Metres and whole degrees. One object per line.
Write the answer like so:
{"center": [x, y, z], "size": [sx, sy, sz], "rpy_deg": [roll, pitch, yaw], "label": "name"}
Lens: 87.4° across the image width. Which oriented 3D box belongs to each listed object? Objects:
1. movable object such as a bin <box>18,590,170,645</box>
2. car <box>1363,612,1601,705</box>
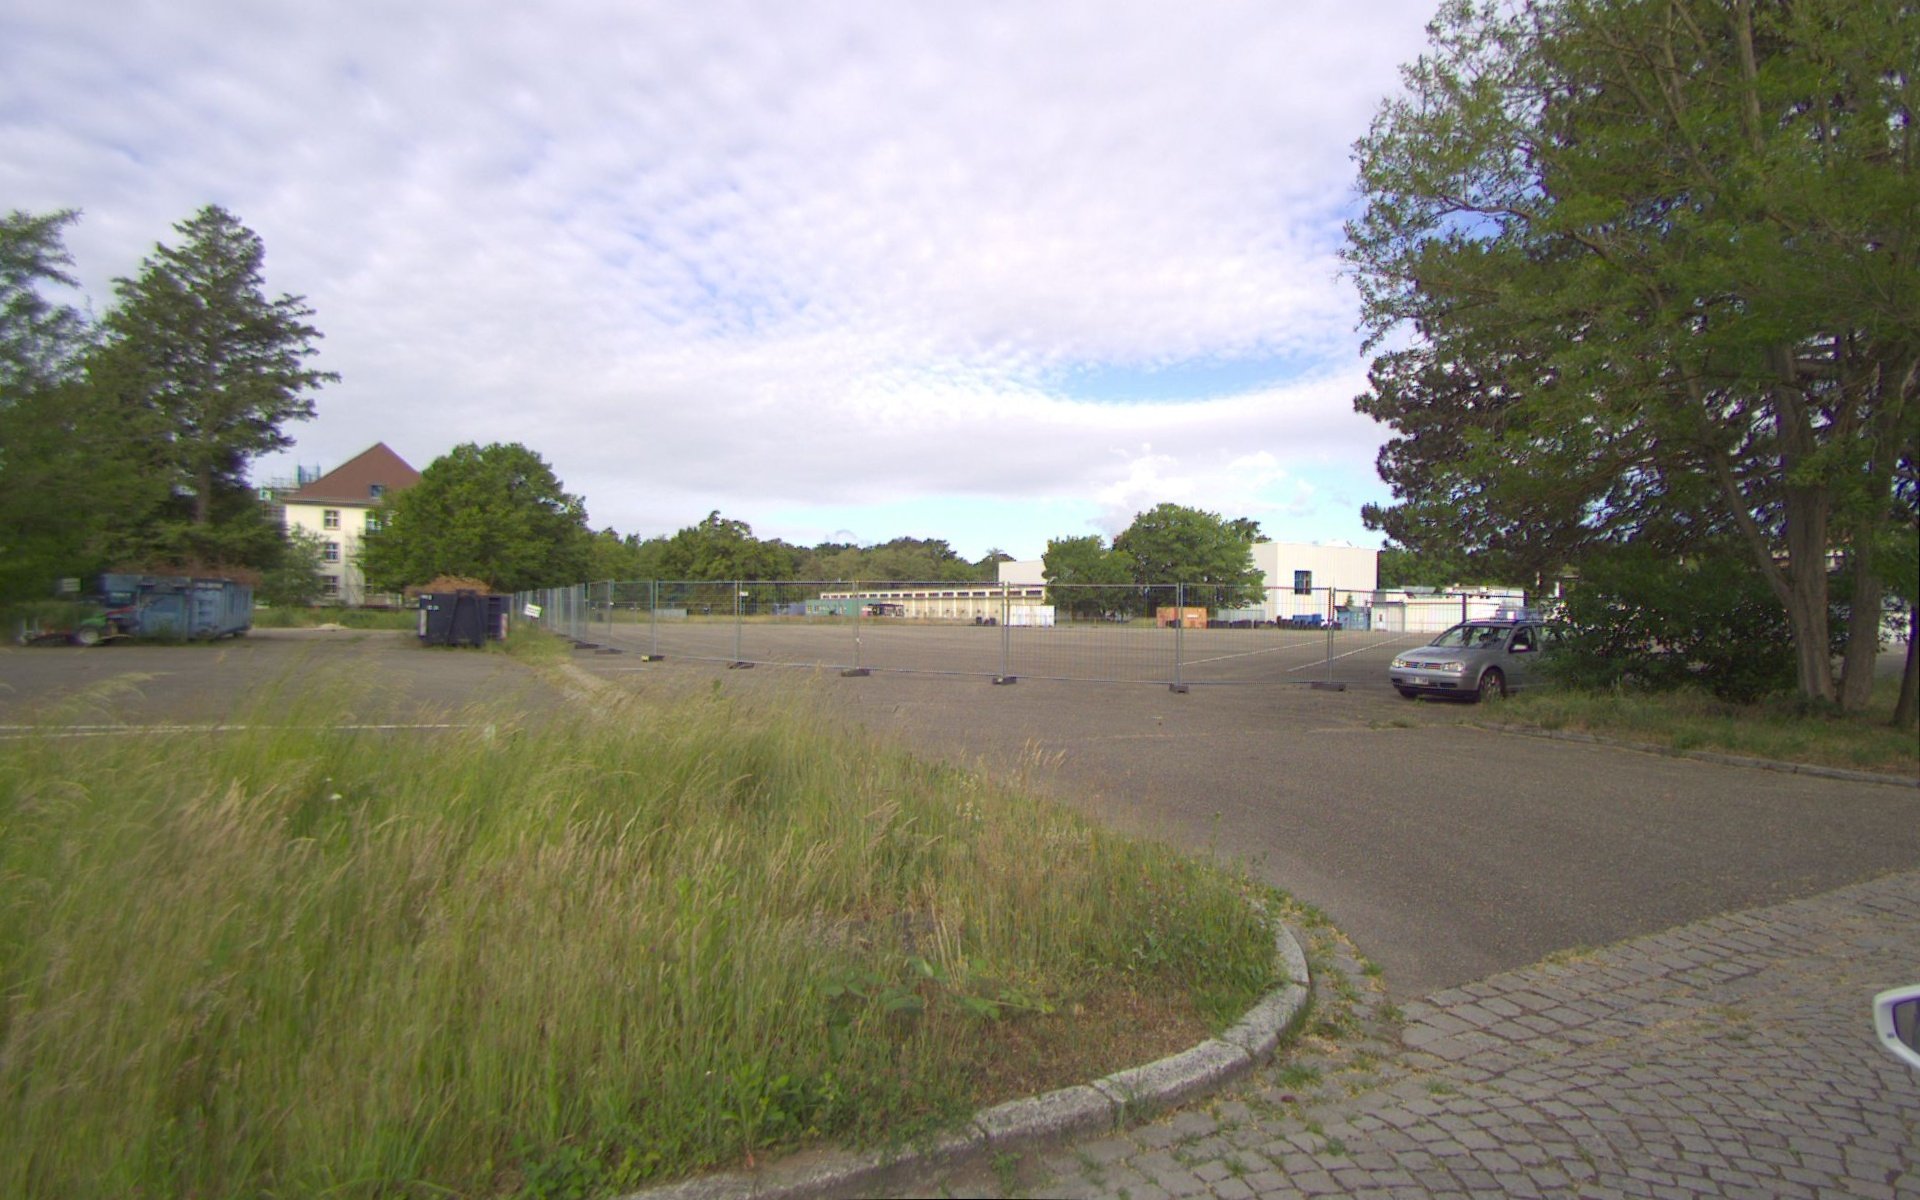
{"center": [-20.449, 0.416, 23.820], "size": [2.507, 1.228, 1.162], "rpy_deg": [1, 0, -28], "label": "movable object such as a bin"}
{"center": [9.650, 1.009, 18.503], "size": [4.318, 1.496, 1.910], "rpy_deg": [1, 0, -30], "label": "car"}
